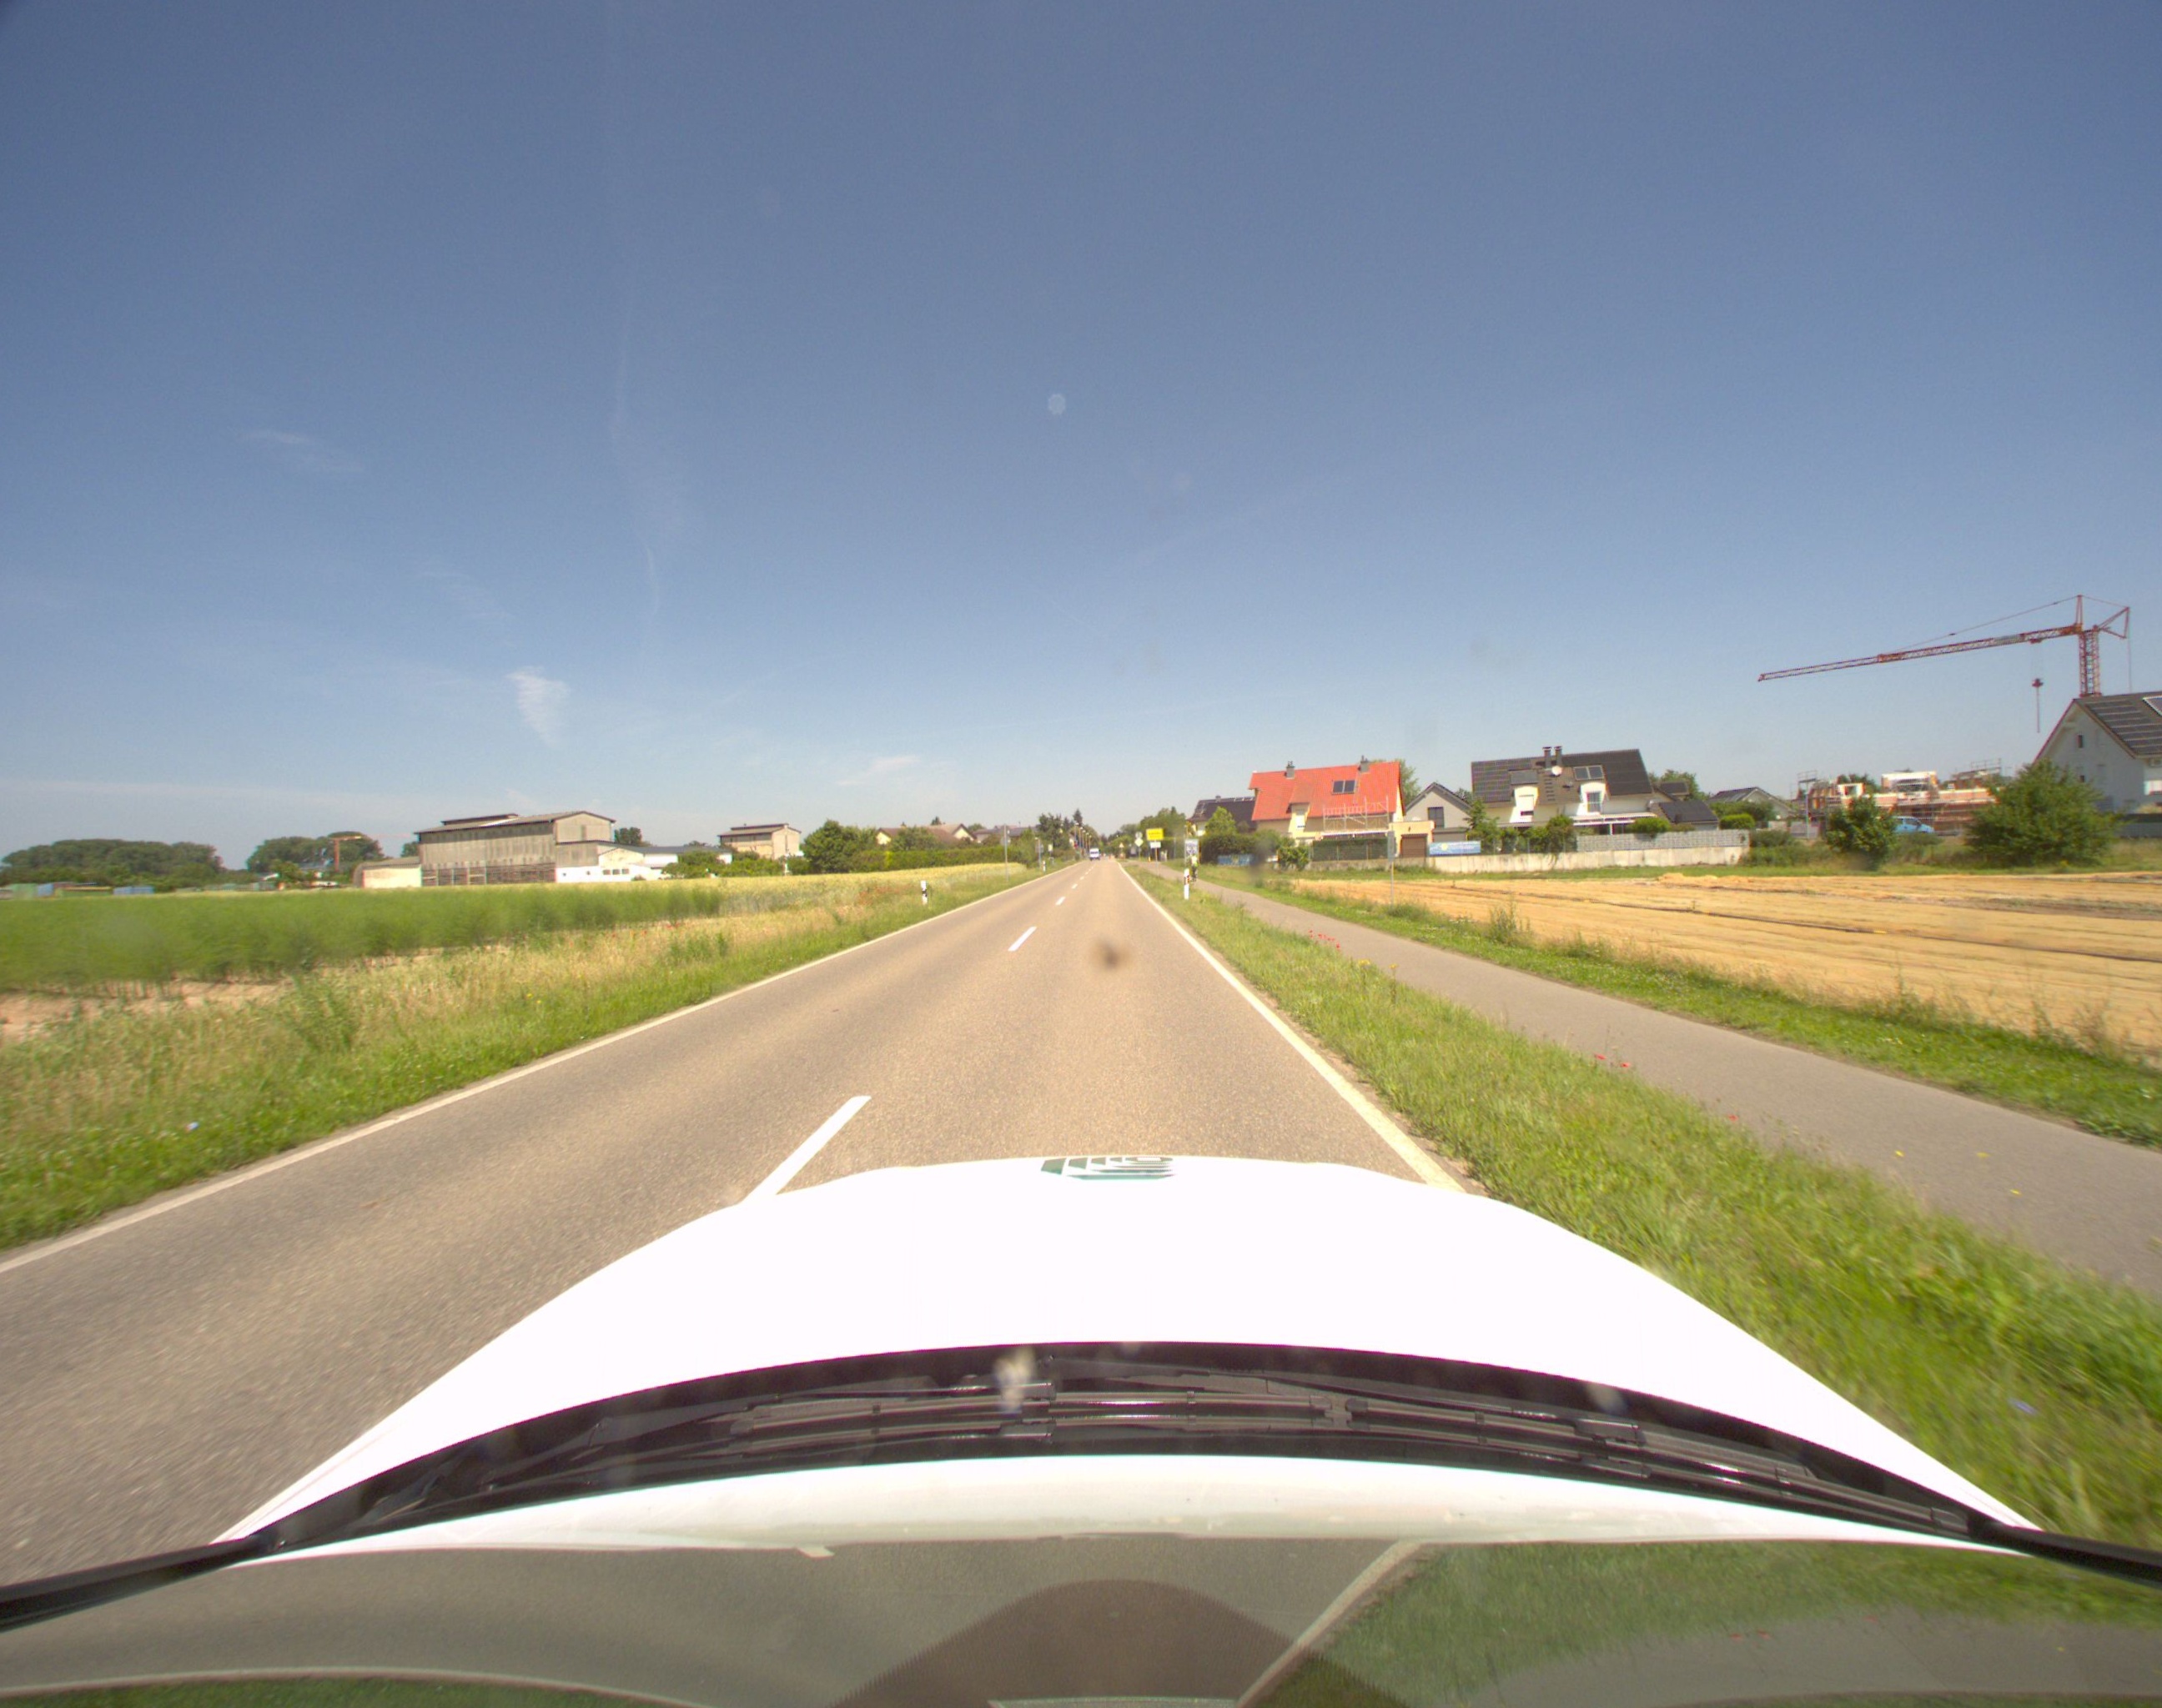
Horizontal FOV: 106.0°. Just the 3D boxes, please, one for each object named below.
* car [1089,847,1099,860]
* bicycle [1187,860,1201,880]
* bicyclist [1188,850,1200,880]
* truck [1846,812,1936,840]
[{"bbox_3d":[2.837,-0.116,175.089,2.070,2.542,5.875,-4,0,1],"label":"car"},{"bbox_3d":[7.183,1.025,51.932,0.608,1.158,2.275,-1,1,1],"label":"bicycle"},{"bbox_3d":[7.171,0.673,51.865,0.642,1.889,0.861,-1,1,1],"label":"bicyclist"},{"bbox_3d":[75.560,-2.593,76.083,5.502,2.230,2.228,-3,0,26],"label":"truck"}]
